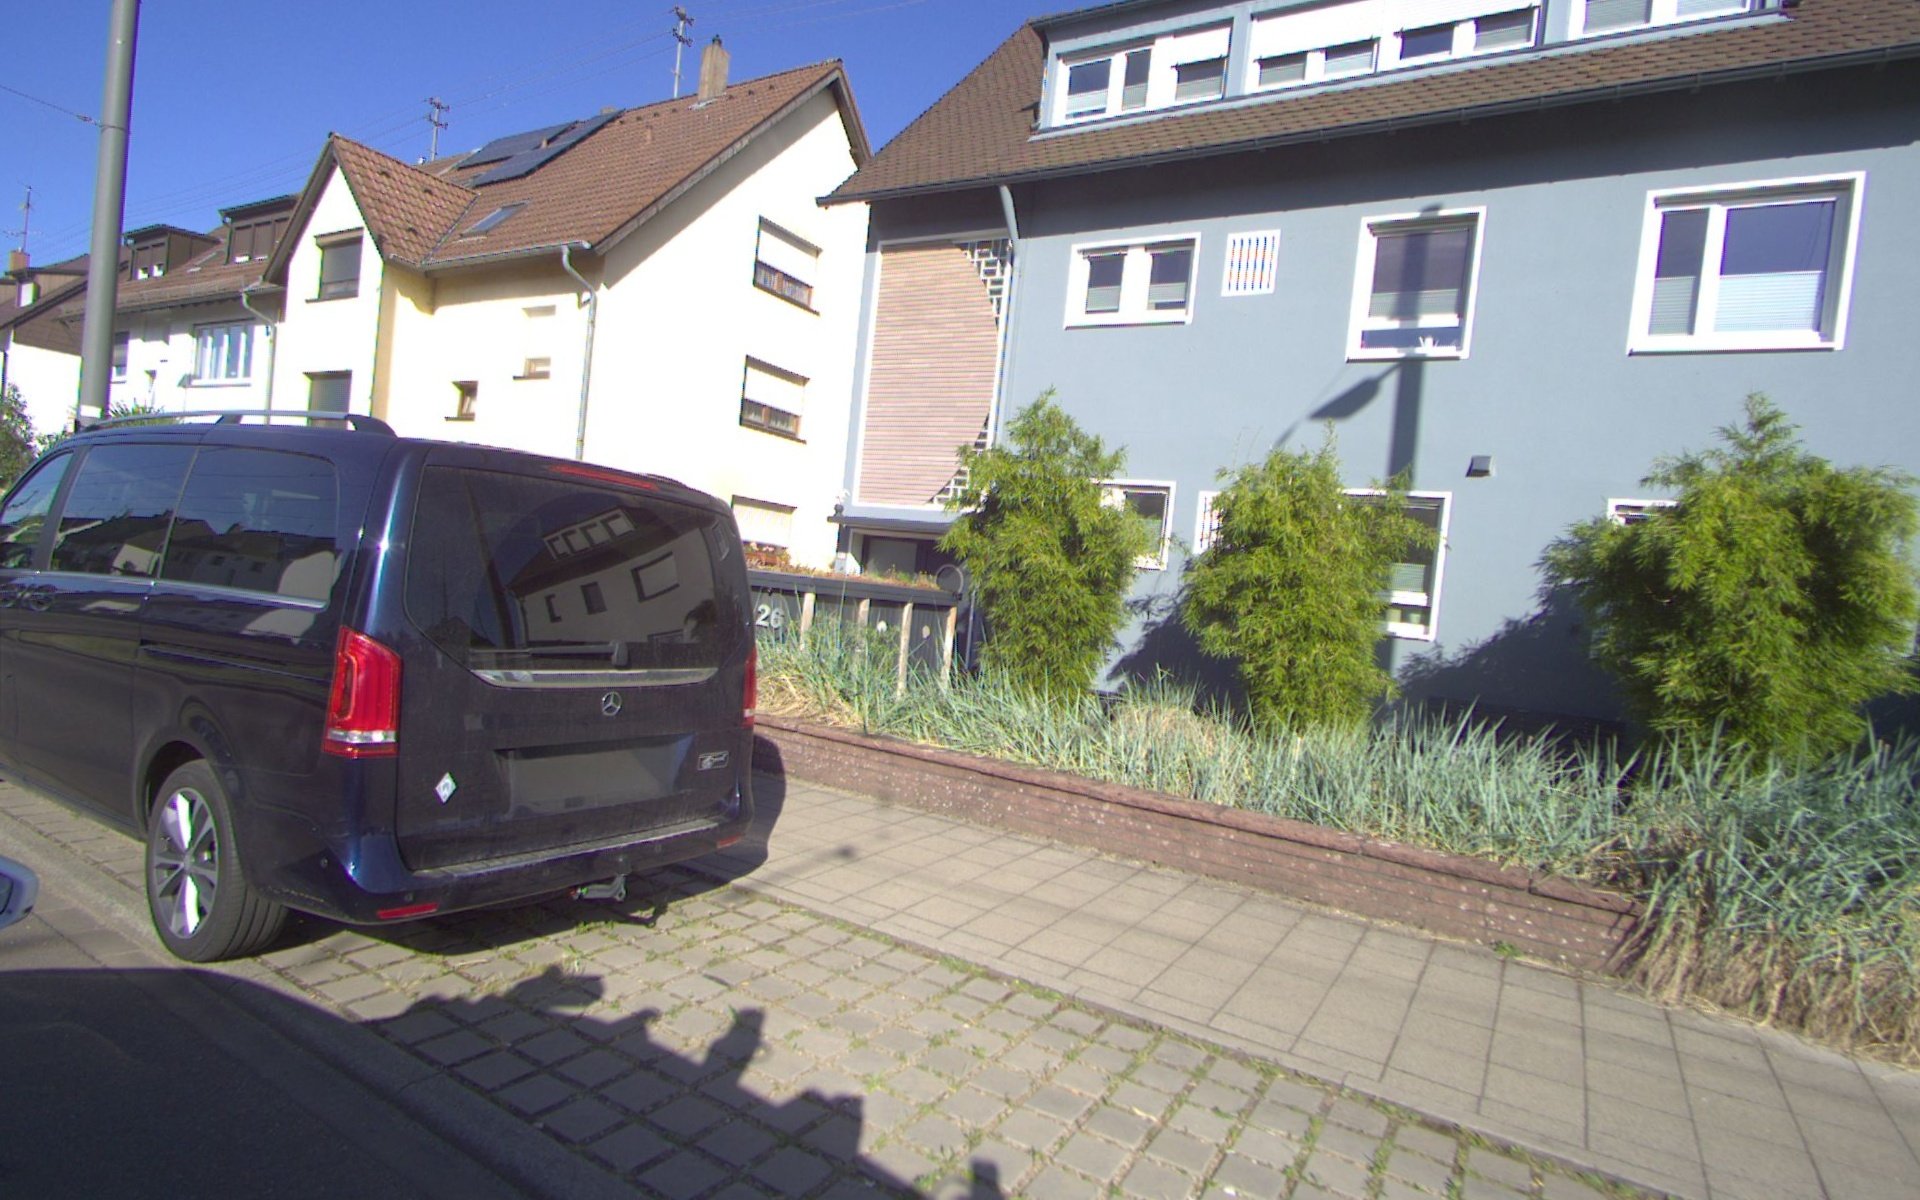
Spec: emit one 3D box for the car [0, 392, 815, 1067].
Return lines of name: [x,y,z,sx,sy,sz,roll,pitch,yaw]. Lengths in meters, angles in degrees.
car: [-3.275,0.185,4.872,4.846,1.860,1.963,6,1,32]

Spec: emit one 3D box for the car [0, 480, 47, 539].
car: [-27.208,-2.625,26.480,4.789,1.464,1.999,6,2,7]

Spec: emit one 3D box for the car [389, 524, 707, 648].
car: [-6.163,-0.131,15.525,1.868,1.486,4.168,8,1,31]
